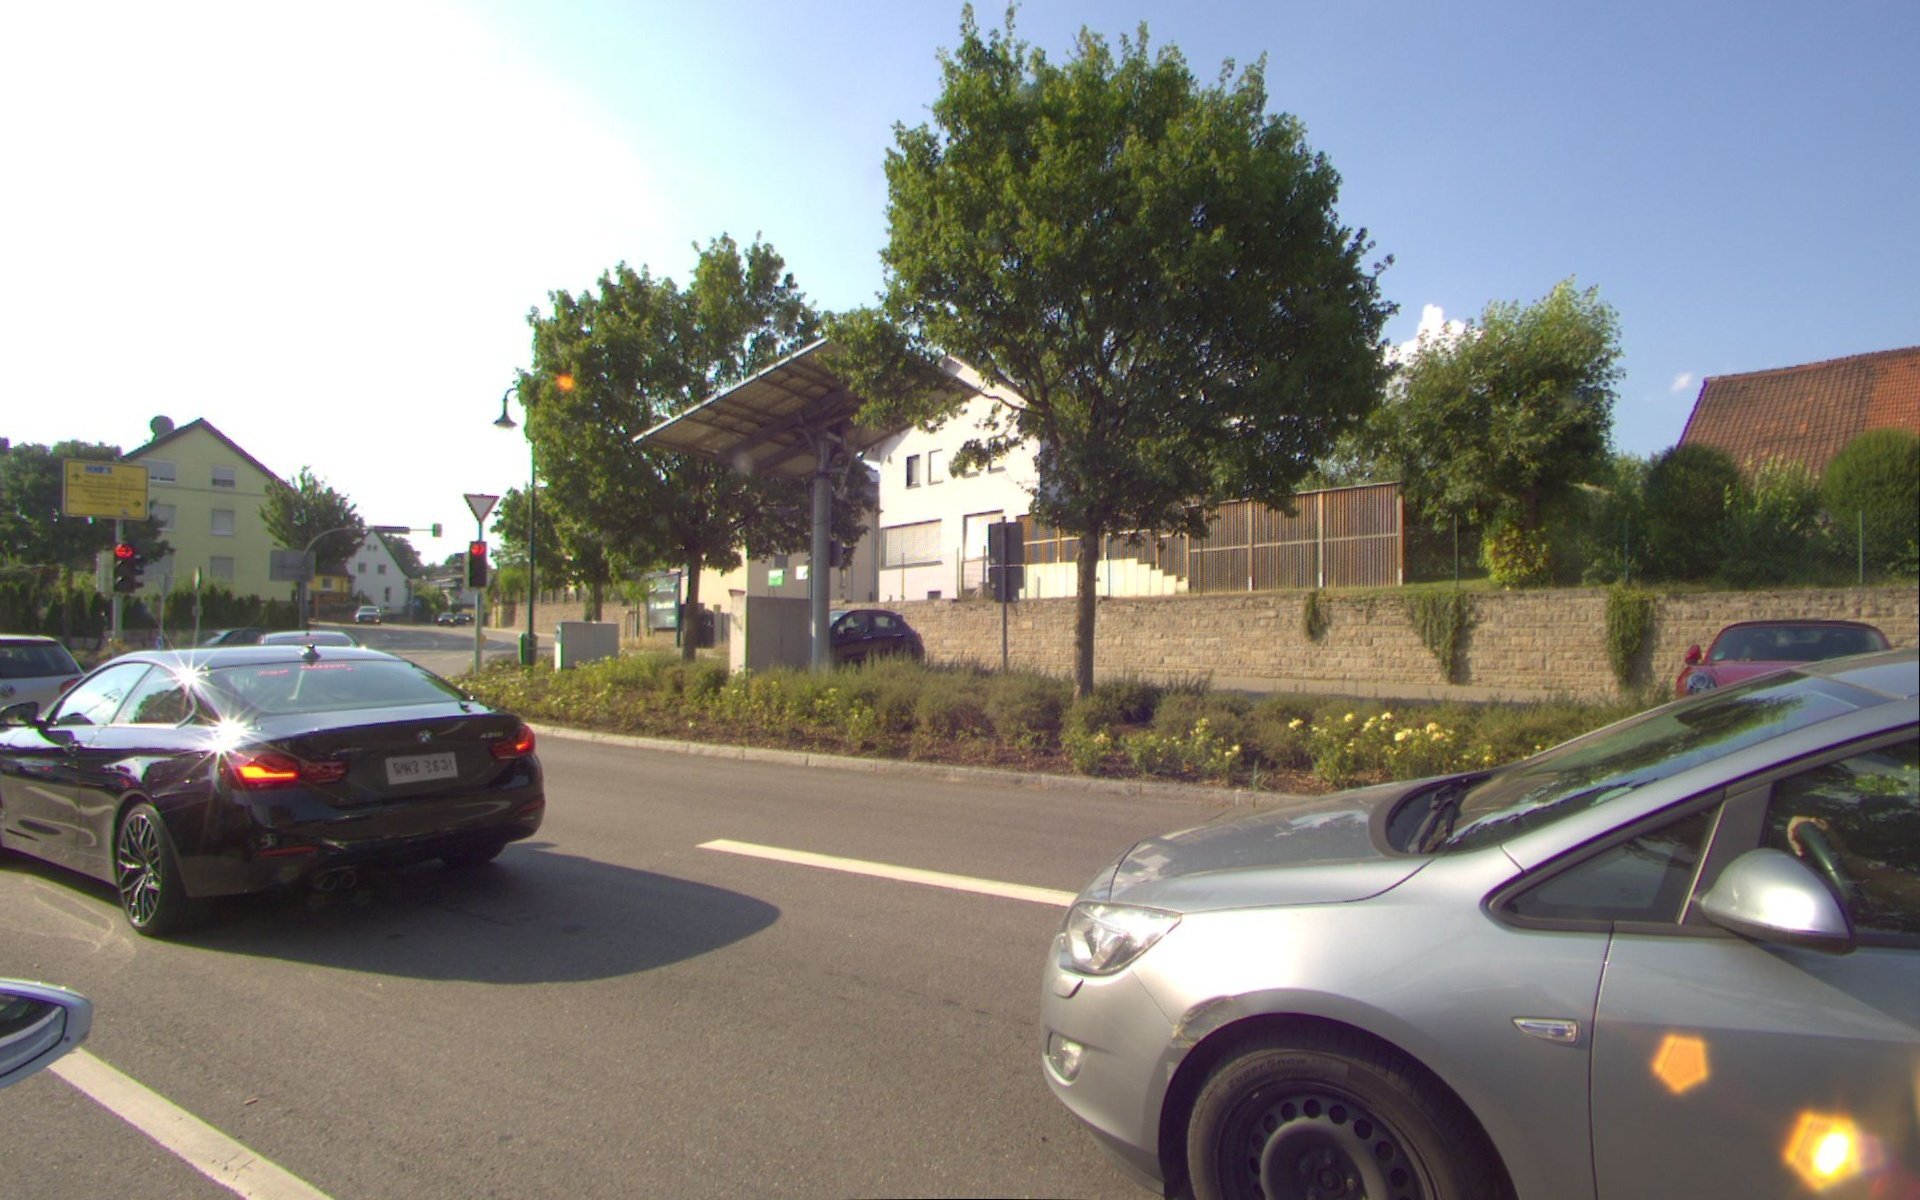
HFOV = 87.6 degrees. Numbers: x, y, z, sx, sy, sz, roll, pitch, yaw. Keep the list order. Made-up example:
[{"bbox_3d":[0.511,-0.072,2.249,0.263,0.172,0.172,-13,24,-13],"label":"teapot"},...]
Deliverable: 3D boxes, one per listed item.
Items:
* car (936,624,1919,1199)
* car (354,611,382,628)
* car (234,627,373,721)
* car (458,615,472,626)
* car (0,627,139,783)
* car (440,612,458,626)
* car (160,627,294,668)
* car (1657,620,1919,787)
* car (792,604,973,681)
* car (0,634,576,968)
[{"bbox_3d":[2.129,0.788,2.212,4.107,1.460,1.741,-1,-2,32],"label":"car"},{"bbox_3d":[-45.836,1.531,77.636,1.691,1.260,3.981,1,-1,-28],"label":"car"},{"bbox_3d":[-11.813,1.221,17.885,1.667,1.454,4.553,1,-2,-38],"label":"car"},{"bbox_3d":[-73.378,3.039,148.517,1.753,1.600,3.987,1,-2,-24],"label":"car"},{"bbox_3d":[-10.680,1.022,10.700,4.287,1.465,1.812,-1,-2,34],"label":"car"},{"bbox_3d":[-64.533,2.412,126.451,1.753,1.600,3.989,1,-2,-22],"label":"car"},{"bbox_3d":[-29.196,1.866,40.041,1.759,1.526,4.065,0,-2,17],"label":"car"},{"bbox_3d":[8.246,0.866,9.683,1.835,1.288,3.964,-1,-2,45],"label":"car"},{"bbox_3d":[-1.722,0.961,23.130,1.835,1.628,3.964,-1,-2,45],"label":"car"},{"bbox_3d":[-4.492,0.920,6.228,4.287,1.406,1.812,-1,-2,34],"label":"car"}]
